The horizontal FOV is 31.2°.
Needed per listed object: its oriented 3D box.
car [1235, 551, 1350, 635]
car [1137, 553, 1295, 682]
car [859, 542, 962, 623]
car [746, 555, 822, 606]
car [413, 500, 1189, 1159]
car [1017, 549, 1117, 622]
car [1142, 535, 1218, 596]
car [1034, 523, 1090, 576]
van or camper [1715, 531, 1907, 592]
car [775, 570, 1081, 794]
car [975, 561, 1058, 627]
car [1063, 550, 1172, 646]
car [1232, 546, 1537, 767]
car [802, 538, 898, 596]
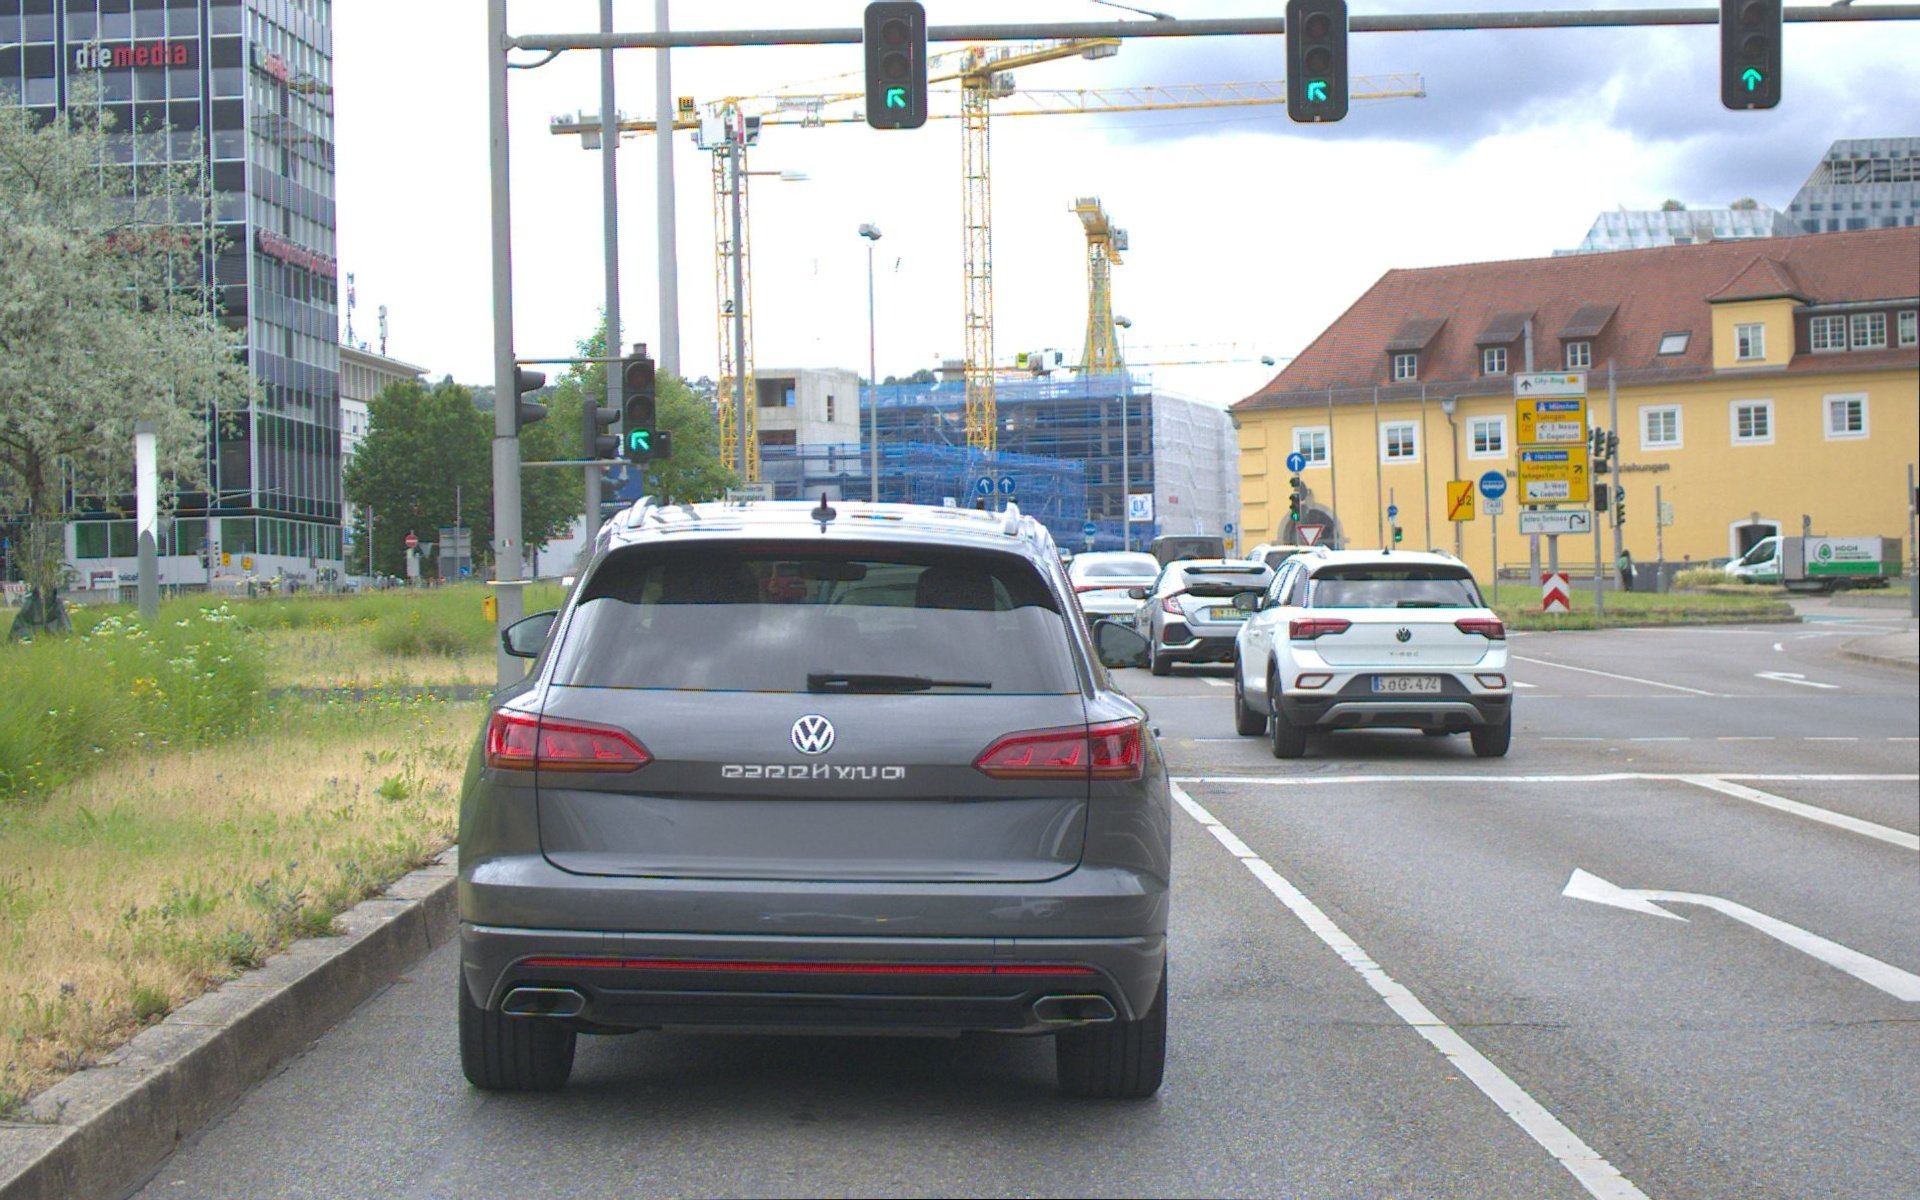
[{"bbox_3d":[6.156,-0.155,63.967,1.803,1.497,3.981,0,1,1],"label":"car"},{"bbox_3d":[3.145,0.177,42.901,1.719,1.497,4.144,0,1,1],"label":"car"},{"bbox_3d":[-0.978,-0.354,66.365,1.814,1.491,3.907,0,1,-3],"label":"car"},{"bbox_3d":[-5.323,-0.616,103.816,1.718,1.497,3.982,0,1,-11],"label":"car"},{"bbox_3d":[-0.412,0.535,10.609,1.933,1.641,4.000,0,1,0],"label":"car"},{"bbox_3d":[2.238,-0.322,72.702,1.814,1.491,3.907,-1,1,-2],"label":"car"},{"bbox_3d":[5.544,-0.888,86.935,1.719,1.497,3.981,0,1,1],"label":"car"},{"bbox_3d":[3.941,-1.954,133.326,1.993,2.007,4.000,0,1,0],"label":"car"},{"bbox_3d":[28.942,-1.309,116.973,6.017,2.007,2.015,0,0,36],"label":"van or camper"},{"bbox_3d":[-0.227,0.522,24.556,1.993,1.382,4.000,-1,1,0],"label":"car"},{"bbox_3d":[1.488,-0.173,92.315,2.139,1.722,4.070,-1,0,0],"label":"car"},{"bbox_3d":[2.625,-0.061,56.623,1.719,1.497,3.981,0,1,4],"label":"car"},{"bbox_3d":[3.234,0.381,26.881,1.893,1.580,3.801,0,1,0],"label":"car"},{"bbox_3d":[-2.971,-0.905,91.881,2.244,1.497,4.612,0,1,-6],"label":"car"}]
